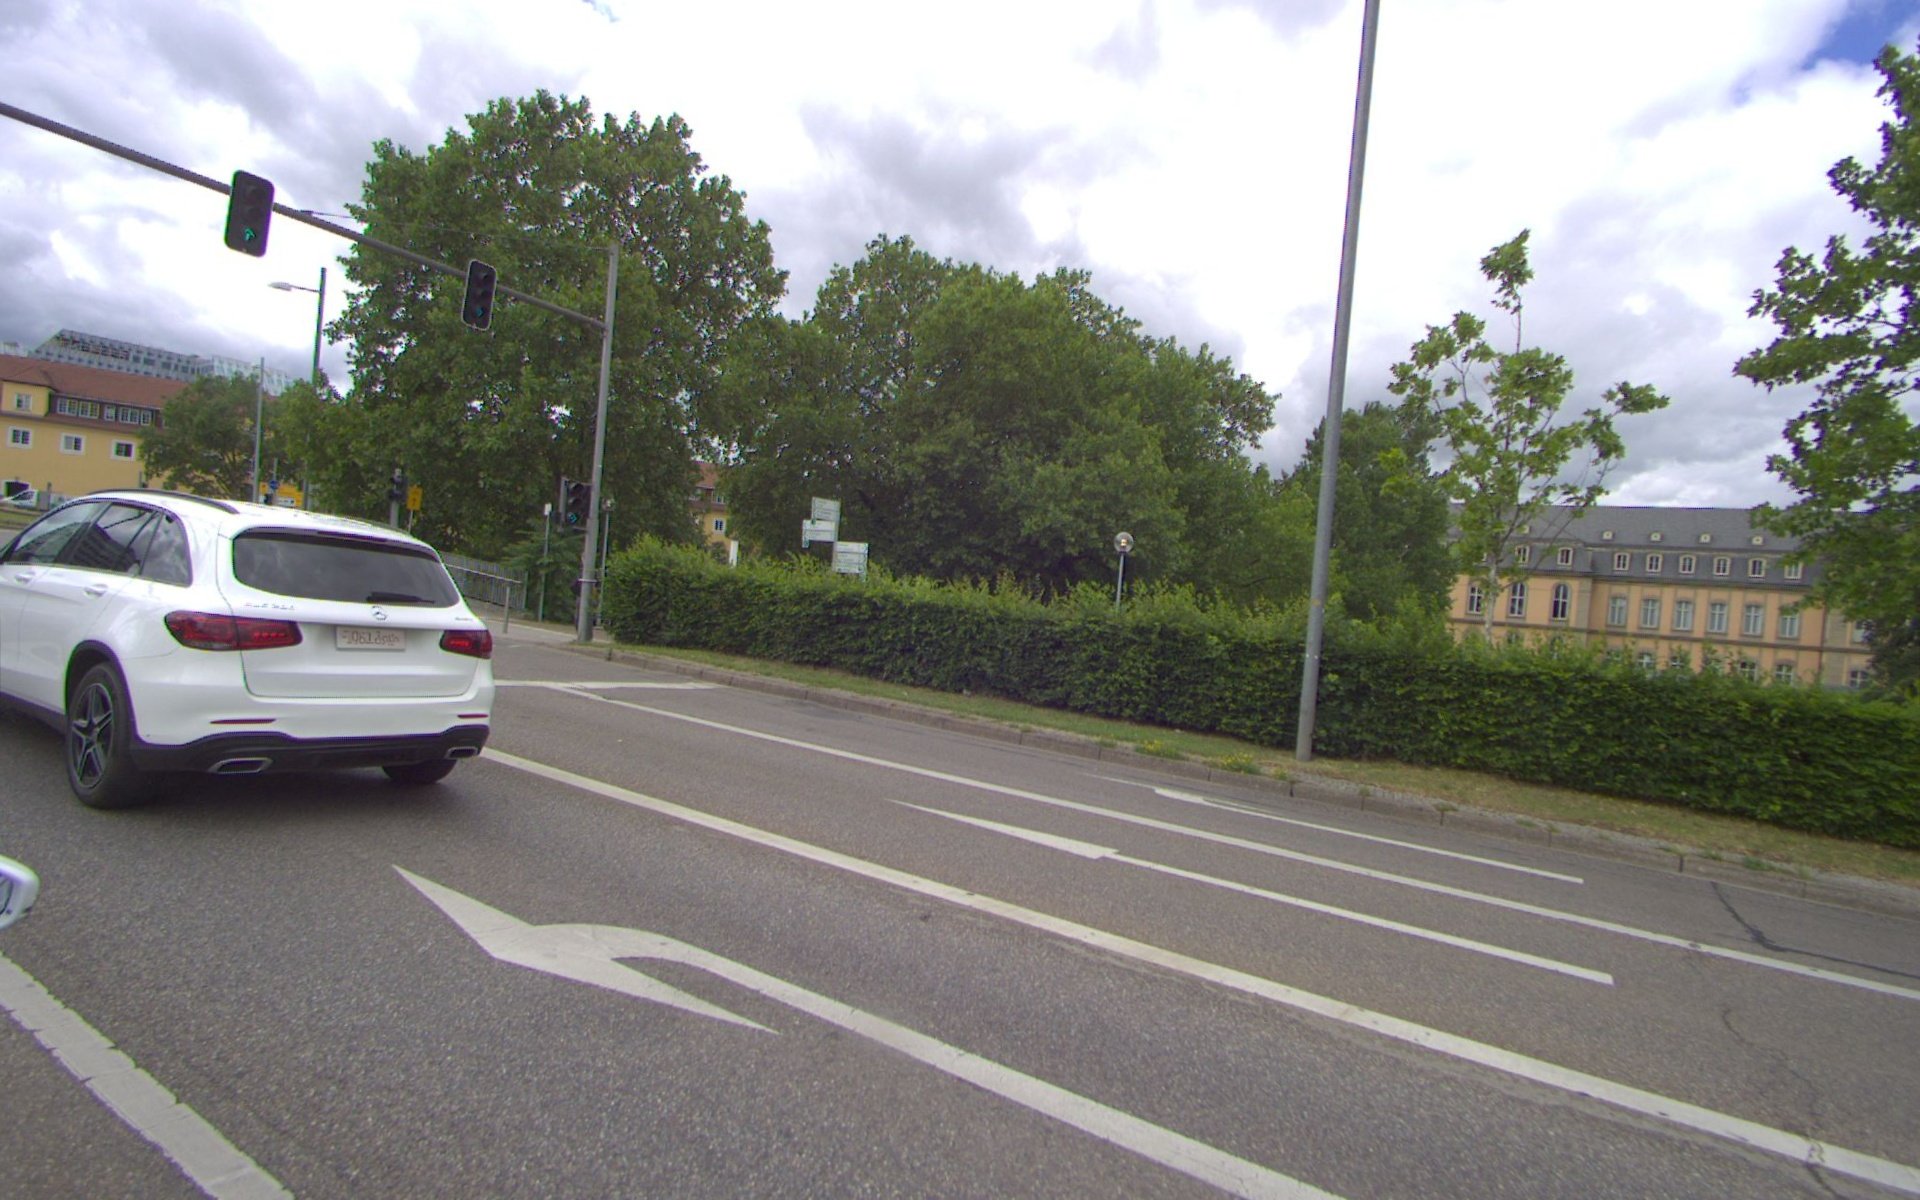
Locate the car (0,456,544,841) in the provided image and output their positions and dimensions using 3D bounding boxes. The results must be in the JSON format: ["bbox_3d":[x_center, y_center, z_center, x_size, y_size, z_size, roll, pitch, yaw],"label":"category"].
[{"bbox_3d":[-4.903,0.105,6.427,4.305,1.667,1.822,7,0,31],"label":"car"}]

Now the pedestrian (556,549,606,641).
[{"bbox_3d":[-7.634,-0.098,20.283,0.610,1.785,0.479,7,0,29],"label":"pedestrian"}]

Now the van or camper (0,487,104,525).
[{"bbox_3d":[-72.013,-7.425,79.674,5.945,2.038,2.009,7,0,-23],"label":"van or camper"}]

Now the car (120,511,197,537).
[{"bbox_3d":[-65.746,-6.196,82.602,4.637,1.438,1.586,7,-1,-27],"label":"car"}]
